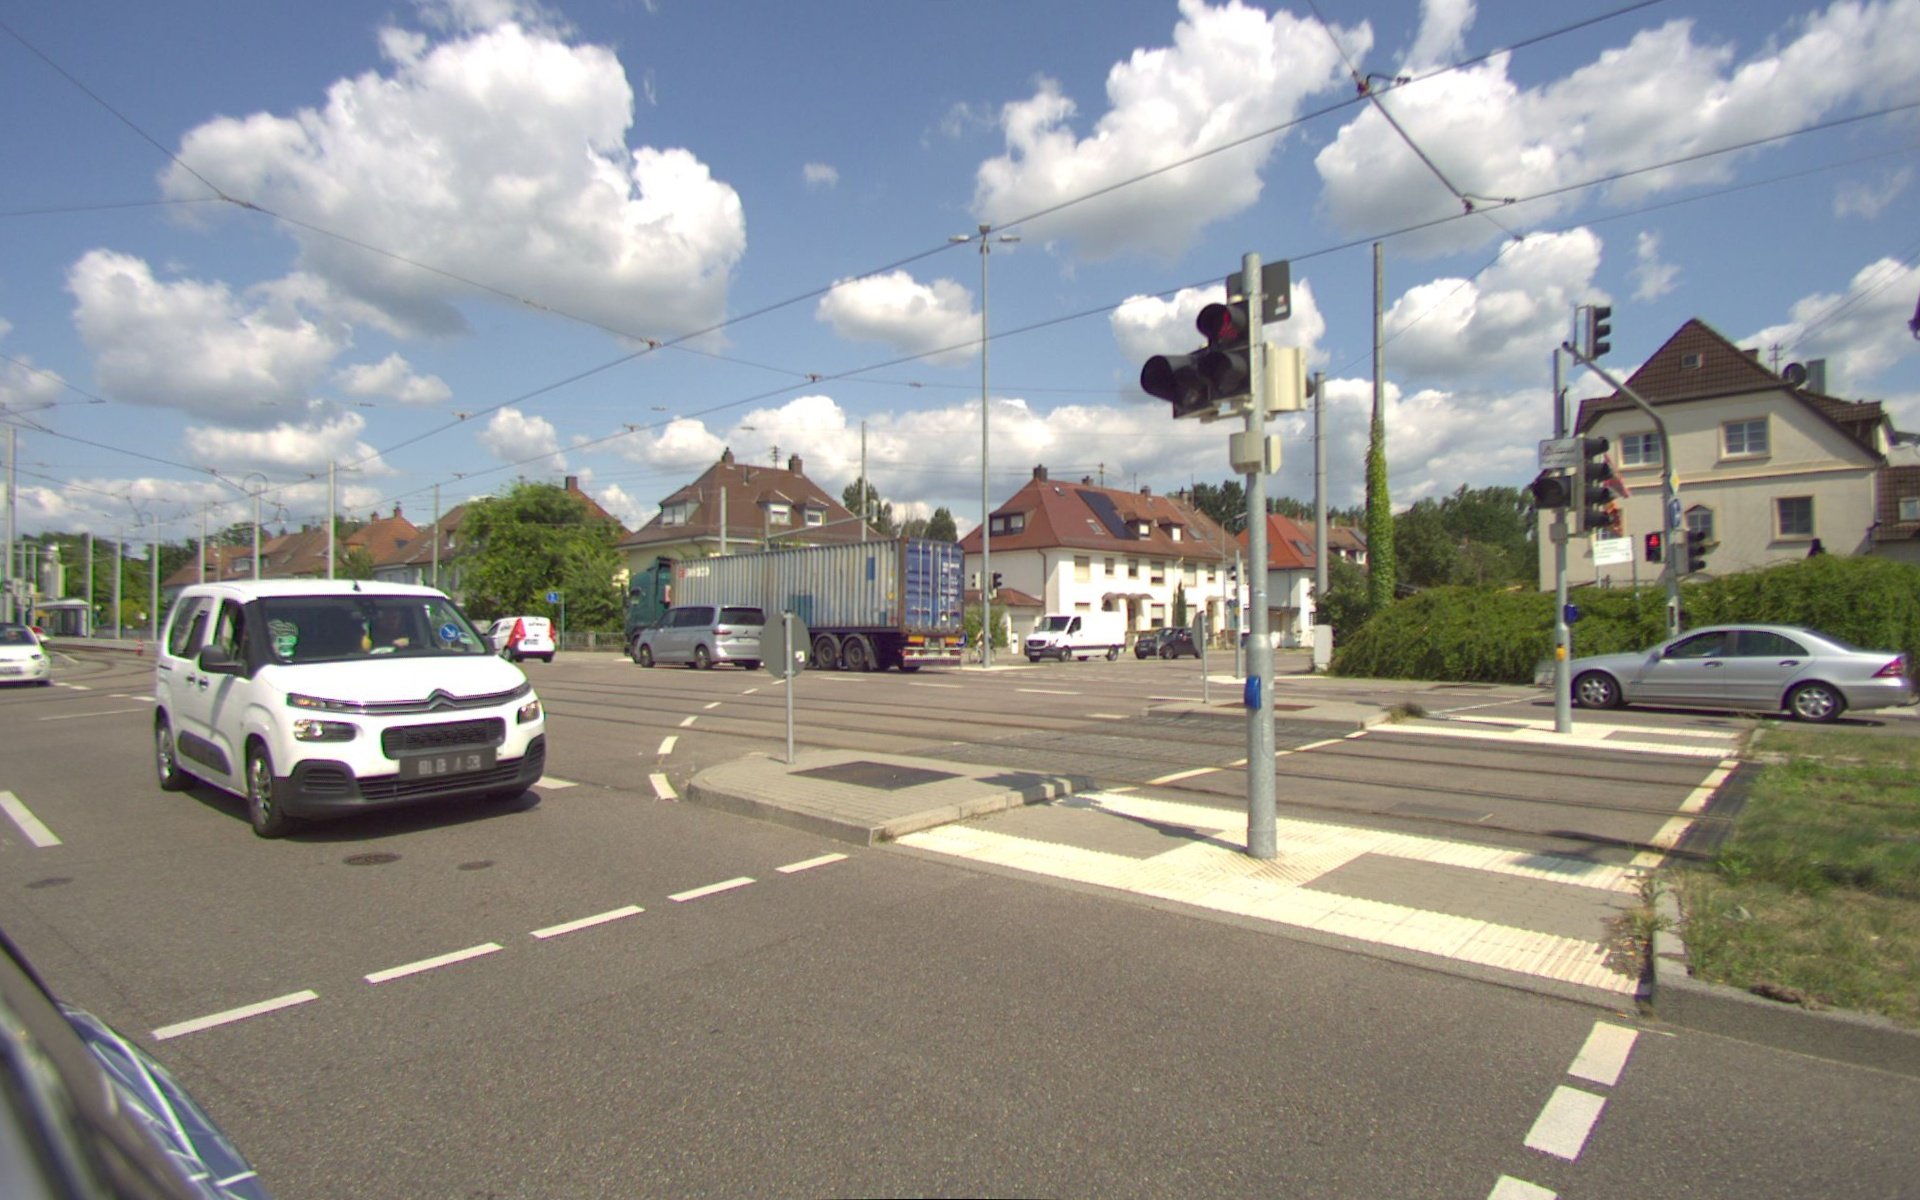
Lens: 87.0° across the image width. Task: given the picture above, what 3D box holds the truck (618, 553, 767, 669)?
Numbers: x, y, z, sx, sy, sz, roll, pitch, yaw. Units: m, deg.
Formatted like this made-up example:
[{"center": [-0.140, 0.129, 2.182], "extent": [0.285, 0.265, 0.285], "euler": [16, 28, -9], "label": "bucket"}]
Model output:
[{"center": [-9.766, 0.519, 36.687], "extent": [5.668, 3.851, 2.570], "euler": [-3, -5, 44], "label": "truck"}]

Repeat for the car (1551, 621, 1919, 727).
[{"center": [11.824, 1.037, 15.549], "extent": [4.470, 1.397, 1.775], "euler": [-1, -2, 42], "label": "car"}]

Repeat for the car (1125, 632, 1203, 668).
[{"center": [10.360, 2.491, 51.338], "extent": [2.000, 1.564, 4.118], "euler": [0, 0, 43], "label": "car"}]

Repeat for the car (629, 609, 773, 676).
[{"center": [-7.728, 1.230, 30.000], "extent": [4.710, 1.829, 1.776], "euler": [-1, -2, 41], "label": "car"}]

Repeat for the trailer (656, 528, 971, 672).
[{"center": [-5.207, 0.277, 32.356], "extent": [12.838, 3.851, 2.570], "euler": [-3, -5, 44], "label": "trailer"}]

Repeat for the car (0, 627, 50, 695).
[{"center": [-23.100, 1.423, 24.042], "extent": [3.389, 1.515, 1.660], "euler": [-2, 0, 38], "label": "car"}]

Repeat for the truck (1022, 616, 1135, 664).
[{"center": [5.563, 1.772, 46.629], "extent": [6.113, 1.936, 1.691], "euler": [-1, 0, -44], "label": "truck"}]

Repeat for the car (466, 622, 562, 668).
[{"center": [-17.186, 1.688, 38.927], "extent": [4.471, 1.649, 1.775], "euler": [-1, -2, 43], "label": "car"}]

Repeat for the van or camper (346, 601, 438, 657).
[{"center": [-32.507, 1.593, 57.771], "extent": [7.754, 2.952, 2.298], "euler": [1, -1, 43], "label": "van or camper"}]

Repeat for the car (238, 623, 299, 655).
[{"center": [-40.862, 2.323, 59.741], "extent": [4.879, 1.790, 1.971], "euler": [-2, -4, 44], "label": "car"}]

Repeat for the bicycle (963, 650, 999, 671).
[{"center": [0.948, 2.749, 46.289], "extent": [0.602, 0.841, 1.784], "euler": [-1, 0, 43], "label": "bicycle"}]

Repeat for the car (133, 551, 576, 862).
[{"center": [-4.991, 0.642, 8.068], "extent": [4.327, 1.829, 1.776], "euler": [-1, 0, 41], "label": "car"}]

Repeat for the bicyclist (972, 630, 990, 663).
[{"center": [0.954, 2.118, 46.308], "extent": [0.602, 1.509, 0.494], "euler": [-1, 0, 43], "label": "bicyclist"}]
